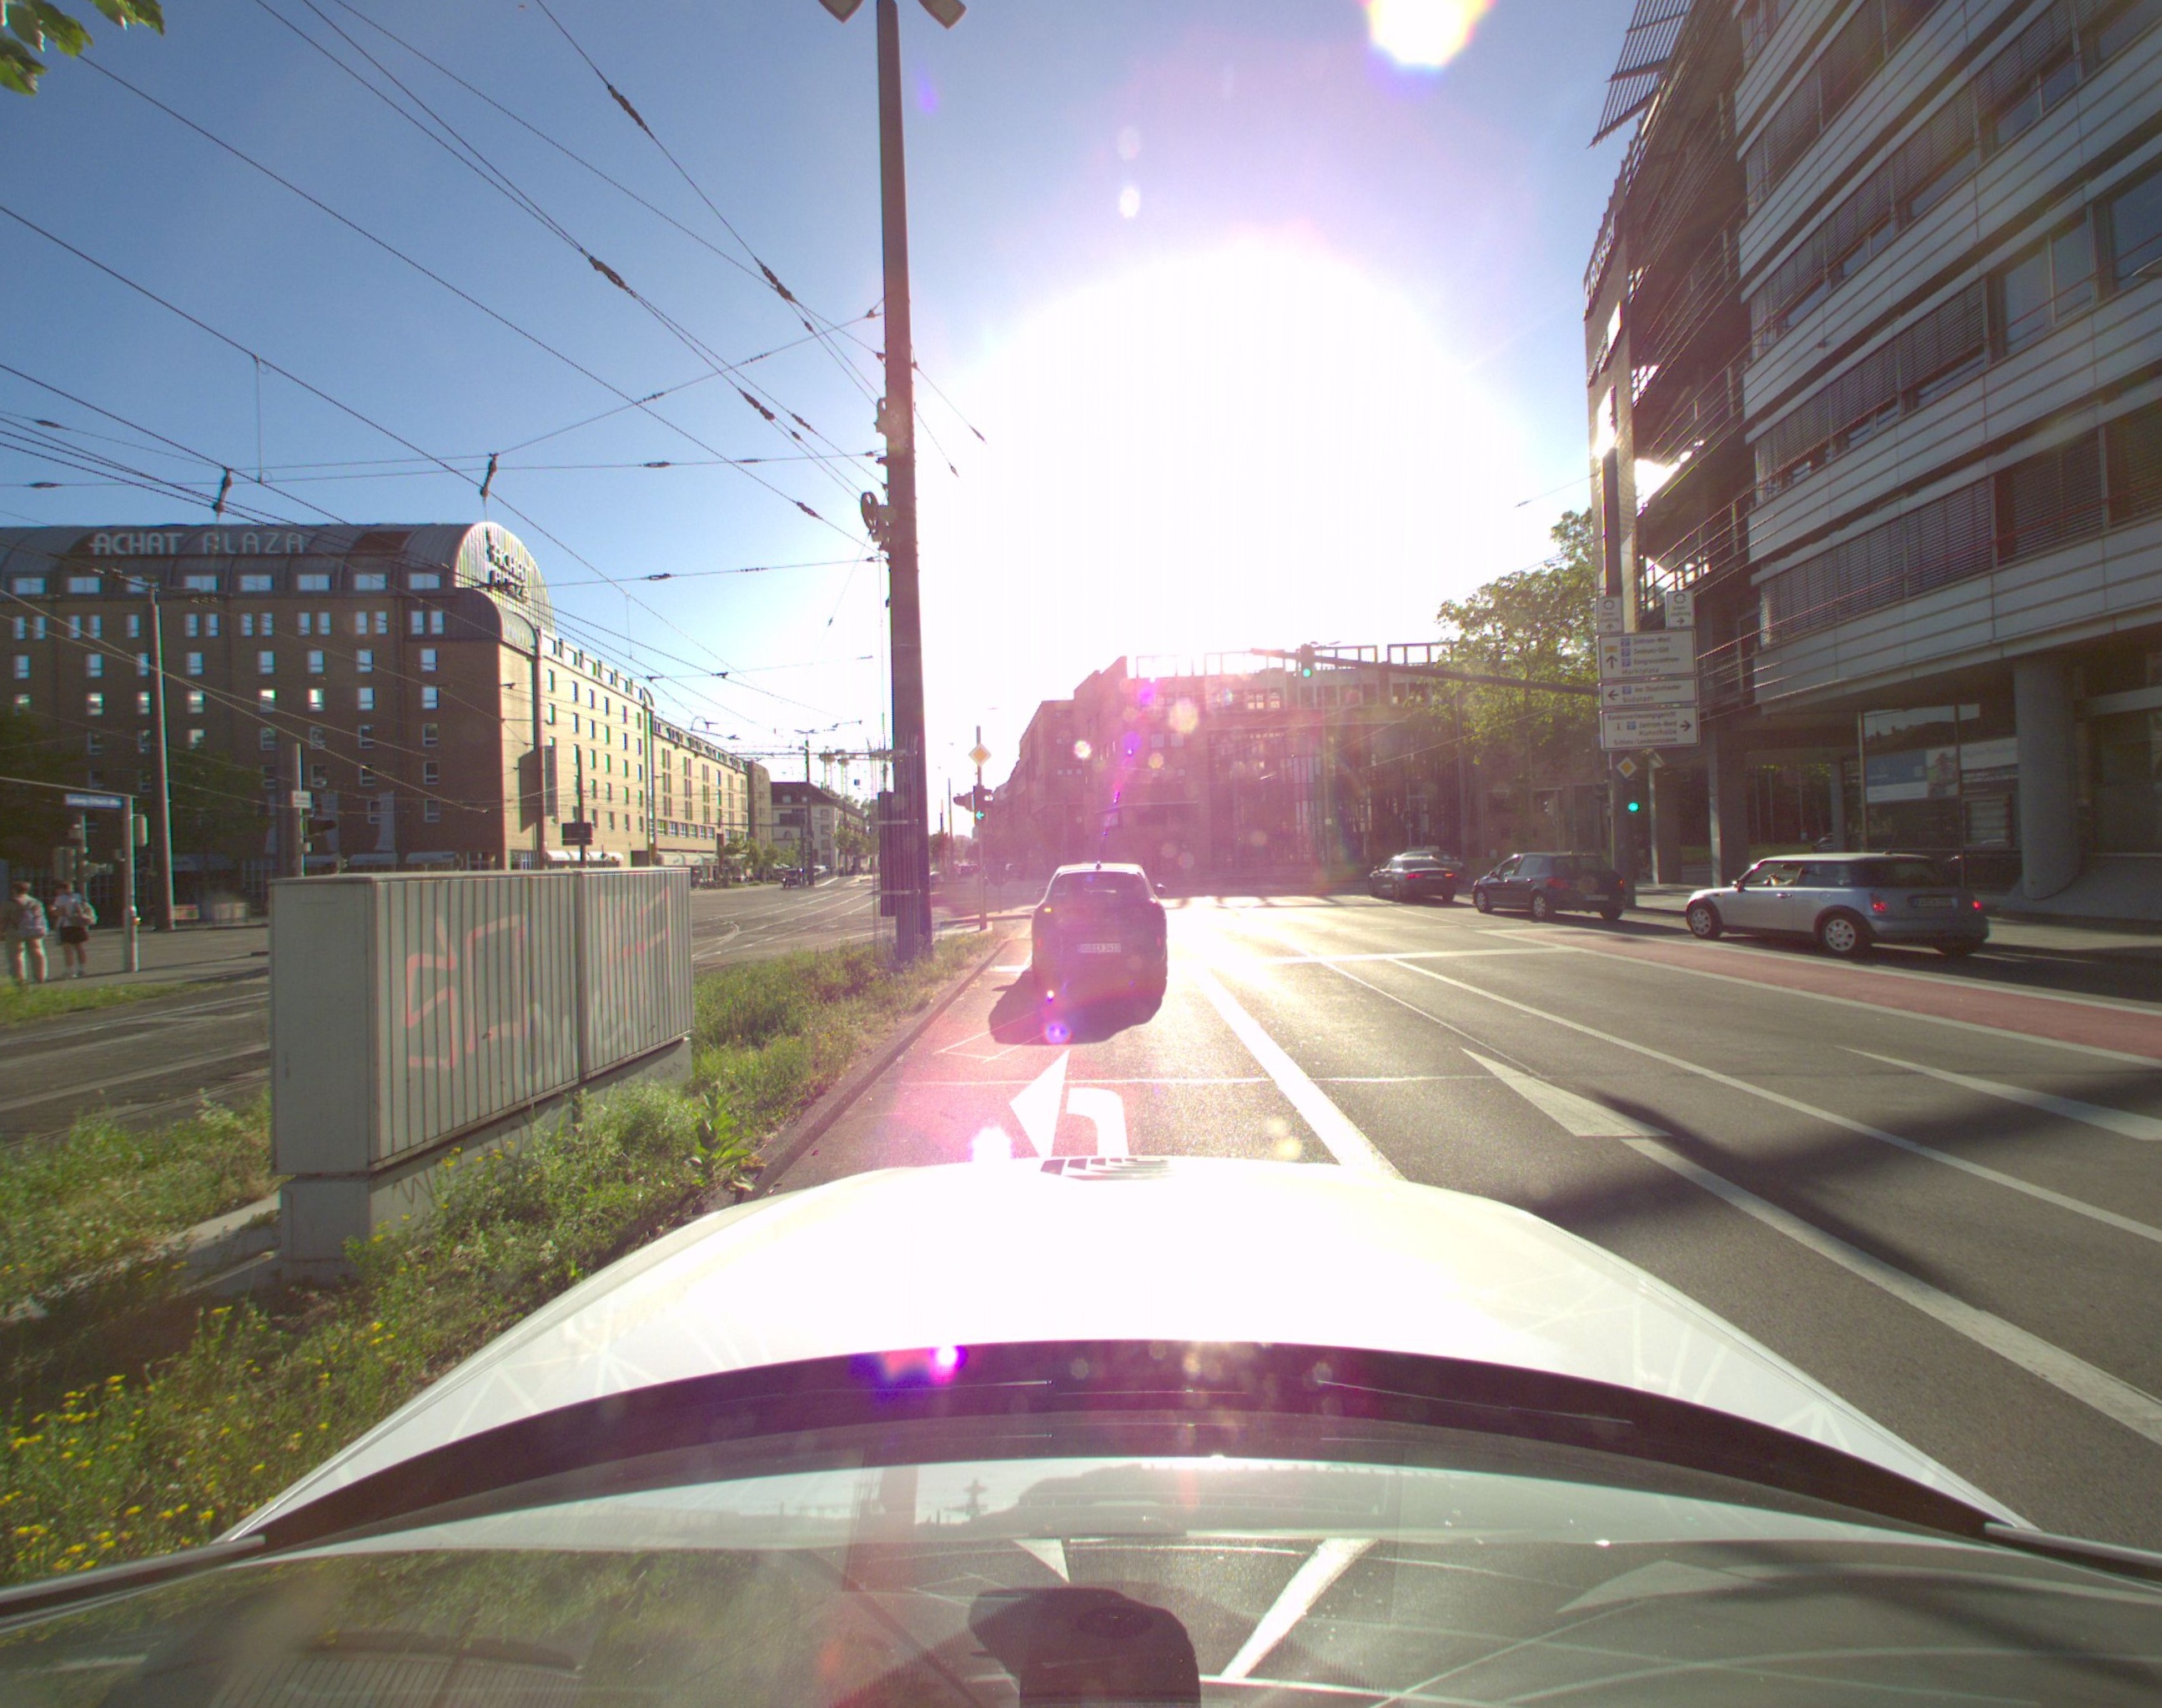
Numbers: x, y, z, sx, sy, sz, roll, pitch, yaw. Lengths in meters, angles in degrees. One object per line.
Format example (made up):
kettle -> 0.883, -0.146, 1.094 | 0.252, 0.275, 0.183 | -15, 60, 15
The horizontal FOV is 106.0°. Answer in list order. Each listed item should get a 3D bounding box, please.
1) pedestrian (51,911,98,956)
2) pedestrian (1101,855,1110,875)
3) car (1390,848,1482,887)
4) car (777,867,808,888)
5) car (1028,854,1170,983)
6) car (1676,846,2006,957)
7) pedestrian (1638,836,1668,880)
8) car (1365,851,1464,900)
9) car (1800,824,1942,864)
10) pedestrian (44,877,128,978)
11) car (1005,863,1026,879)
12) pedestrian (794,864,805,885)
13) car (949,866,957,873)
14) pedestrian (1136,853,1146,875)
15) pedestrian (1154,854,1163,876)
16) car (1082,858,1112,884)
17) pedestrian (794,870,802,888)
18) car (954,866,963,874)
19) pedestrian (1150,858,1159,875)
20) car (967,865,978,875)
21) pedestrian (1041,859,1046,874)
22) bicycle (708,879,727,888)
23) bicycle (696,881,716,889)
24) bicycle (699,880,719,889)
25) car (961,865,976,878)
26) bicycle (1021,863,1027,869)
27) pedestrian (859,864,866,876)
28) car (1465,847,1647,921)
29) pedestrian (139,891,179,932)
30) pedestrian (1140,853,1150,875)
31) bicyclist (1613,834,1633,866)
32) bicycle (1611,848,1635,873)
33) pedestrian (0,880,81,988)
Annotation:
pedestrian -> -40.303, 3.158, 32.616 | 0.711, 1.680, 0.832 | -2, 1, 2
pedestrian -> 2.312, 1.039, 77.268 | 0.639, 1.786, 0.687 | -3, 0, -6
car -> 15.084, 0.549, 34.521 | 3.998, 1.475, 1.682 | -2, 0, -35
car -> -28.077, 2.239, 79.415 | 1.837, 1.836, 4.098 | -4, 0, -6
car -> 0.271, 0.762, 11.447 | 1.665, 1.502, 3.692 | -1, 0, 2
car -> 11.008, 0.617, 12.181 | 1.655, 1.389, 3.537 | -1, 0, 1
pedestrian -> 22.464, 0.160, 31.984 | 0.786, 1.734, 0.588 | -1, -1, 9
car -> 10.765, 0.674, 26.585 | 1.688, 1.440, 4.021 | -1, -1, 3
car -> 32.544, -0.389, 33.628 | 3.948, 1.475, 1.869 | -2, 0, 3
pedestrian -> -19.204, 1.404, 15.735 | 0.729, 1.869, 0.673 | -2, 0, -2
car -> -6.392, 1.621, 79.192 | 1.671, 1.453, 3.686 | -3, 0, -9
pedestrian -> -24.126, 1.731, 69.733 | 0.720, 1.727, 0.593 | -2, 0, -8
car -> -26.992, 3.297, 171.746 | 1.516, 1.453, 3.570 | -3, 0, -11
pedestrian -> 5.030, 0.809, 67.862 | 0.573, 1.786, 0.546 | -3, -1, -17
pedestrian -> 6.551, 0.948, 68.766 | 0.573, 1.786, 0.546 | -3, -1, -17
car -> 0.926, 1.006, 48.905 | 1.556, 1.456, 3.428 | -2, 0, -3
pedestrian -> -24.955, 2.208, 71.855 | 0.583, 1.577, 0.642 | -2, -1, -23
car -> -23.643, 2.993, 156.989 | 1.516, 1.453, 3.570 | -3, 0, -11
pedestrian -> 6.316, 1.055, 70.071 | 0.550, 1.477, 0.568 | -2, 0, -27
car -> -17.785, 2.643, 133.640 | 1.720, 1.453, 3.686 | -3, 0, -9
pedestrian -> -4.624, 1.488, 100.378 | 0.547, 1.786, 0.572 | -2, 2, -7
bicycle -> -42.694, 3.475, 95.628 | 2.026, 0.921, 0.483 | -3, 0, 1
bicycle -> -42.832, 3.513, 93.092 | 2.026, 0.845, 0.483 | -3, 0, 1
bicycle -> -43.100, 3.495, 94.345 | 2.026, 0.921, 0.483 | -3, 0, 1
car -> -13.669, 2.068, 99.015 | 1.720, 1.453, 3.686 | -3, 0, -9
bicycle -> -8.896, 1.906, 127.124 | 0.648, 0.904, 2.339 | -2, 0, -7
pedestrian -> -30.985, 2.231, 115.720 | 0.863, 1.670, 0.779 | -1, 0, -20
car -> 10.797, 0.627, 18.896 | 1.855, 1.475, 3.976 | -2, 0, 0
pedestrian -> -40.153, 2.484, 35.479 | 0.713, 1.680, 0.829 | -2, 1, -7
pedestrian -> 5.254, 0.818, 67.144 | 0.573, 1.786, 0.546 | -3, -1, -17
bicyclist -> 24.613, -0.191, 36.971 | 0.658, 1.407, 0.821 | -1, 1, 39
bicycle -> 24.656, 0.294, 37.015 | 0.658, 1.018, 2.199 | -1, 2, 39
pedestrian -> -19.017, 1.439, 14.821 | 0.729, 1.869, 0.699 | -2, 0, 1
